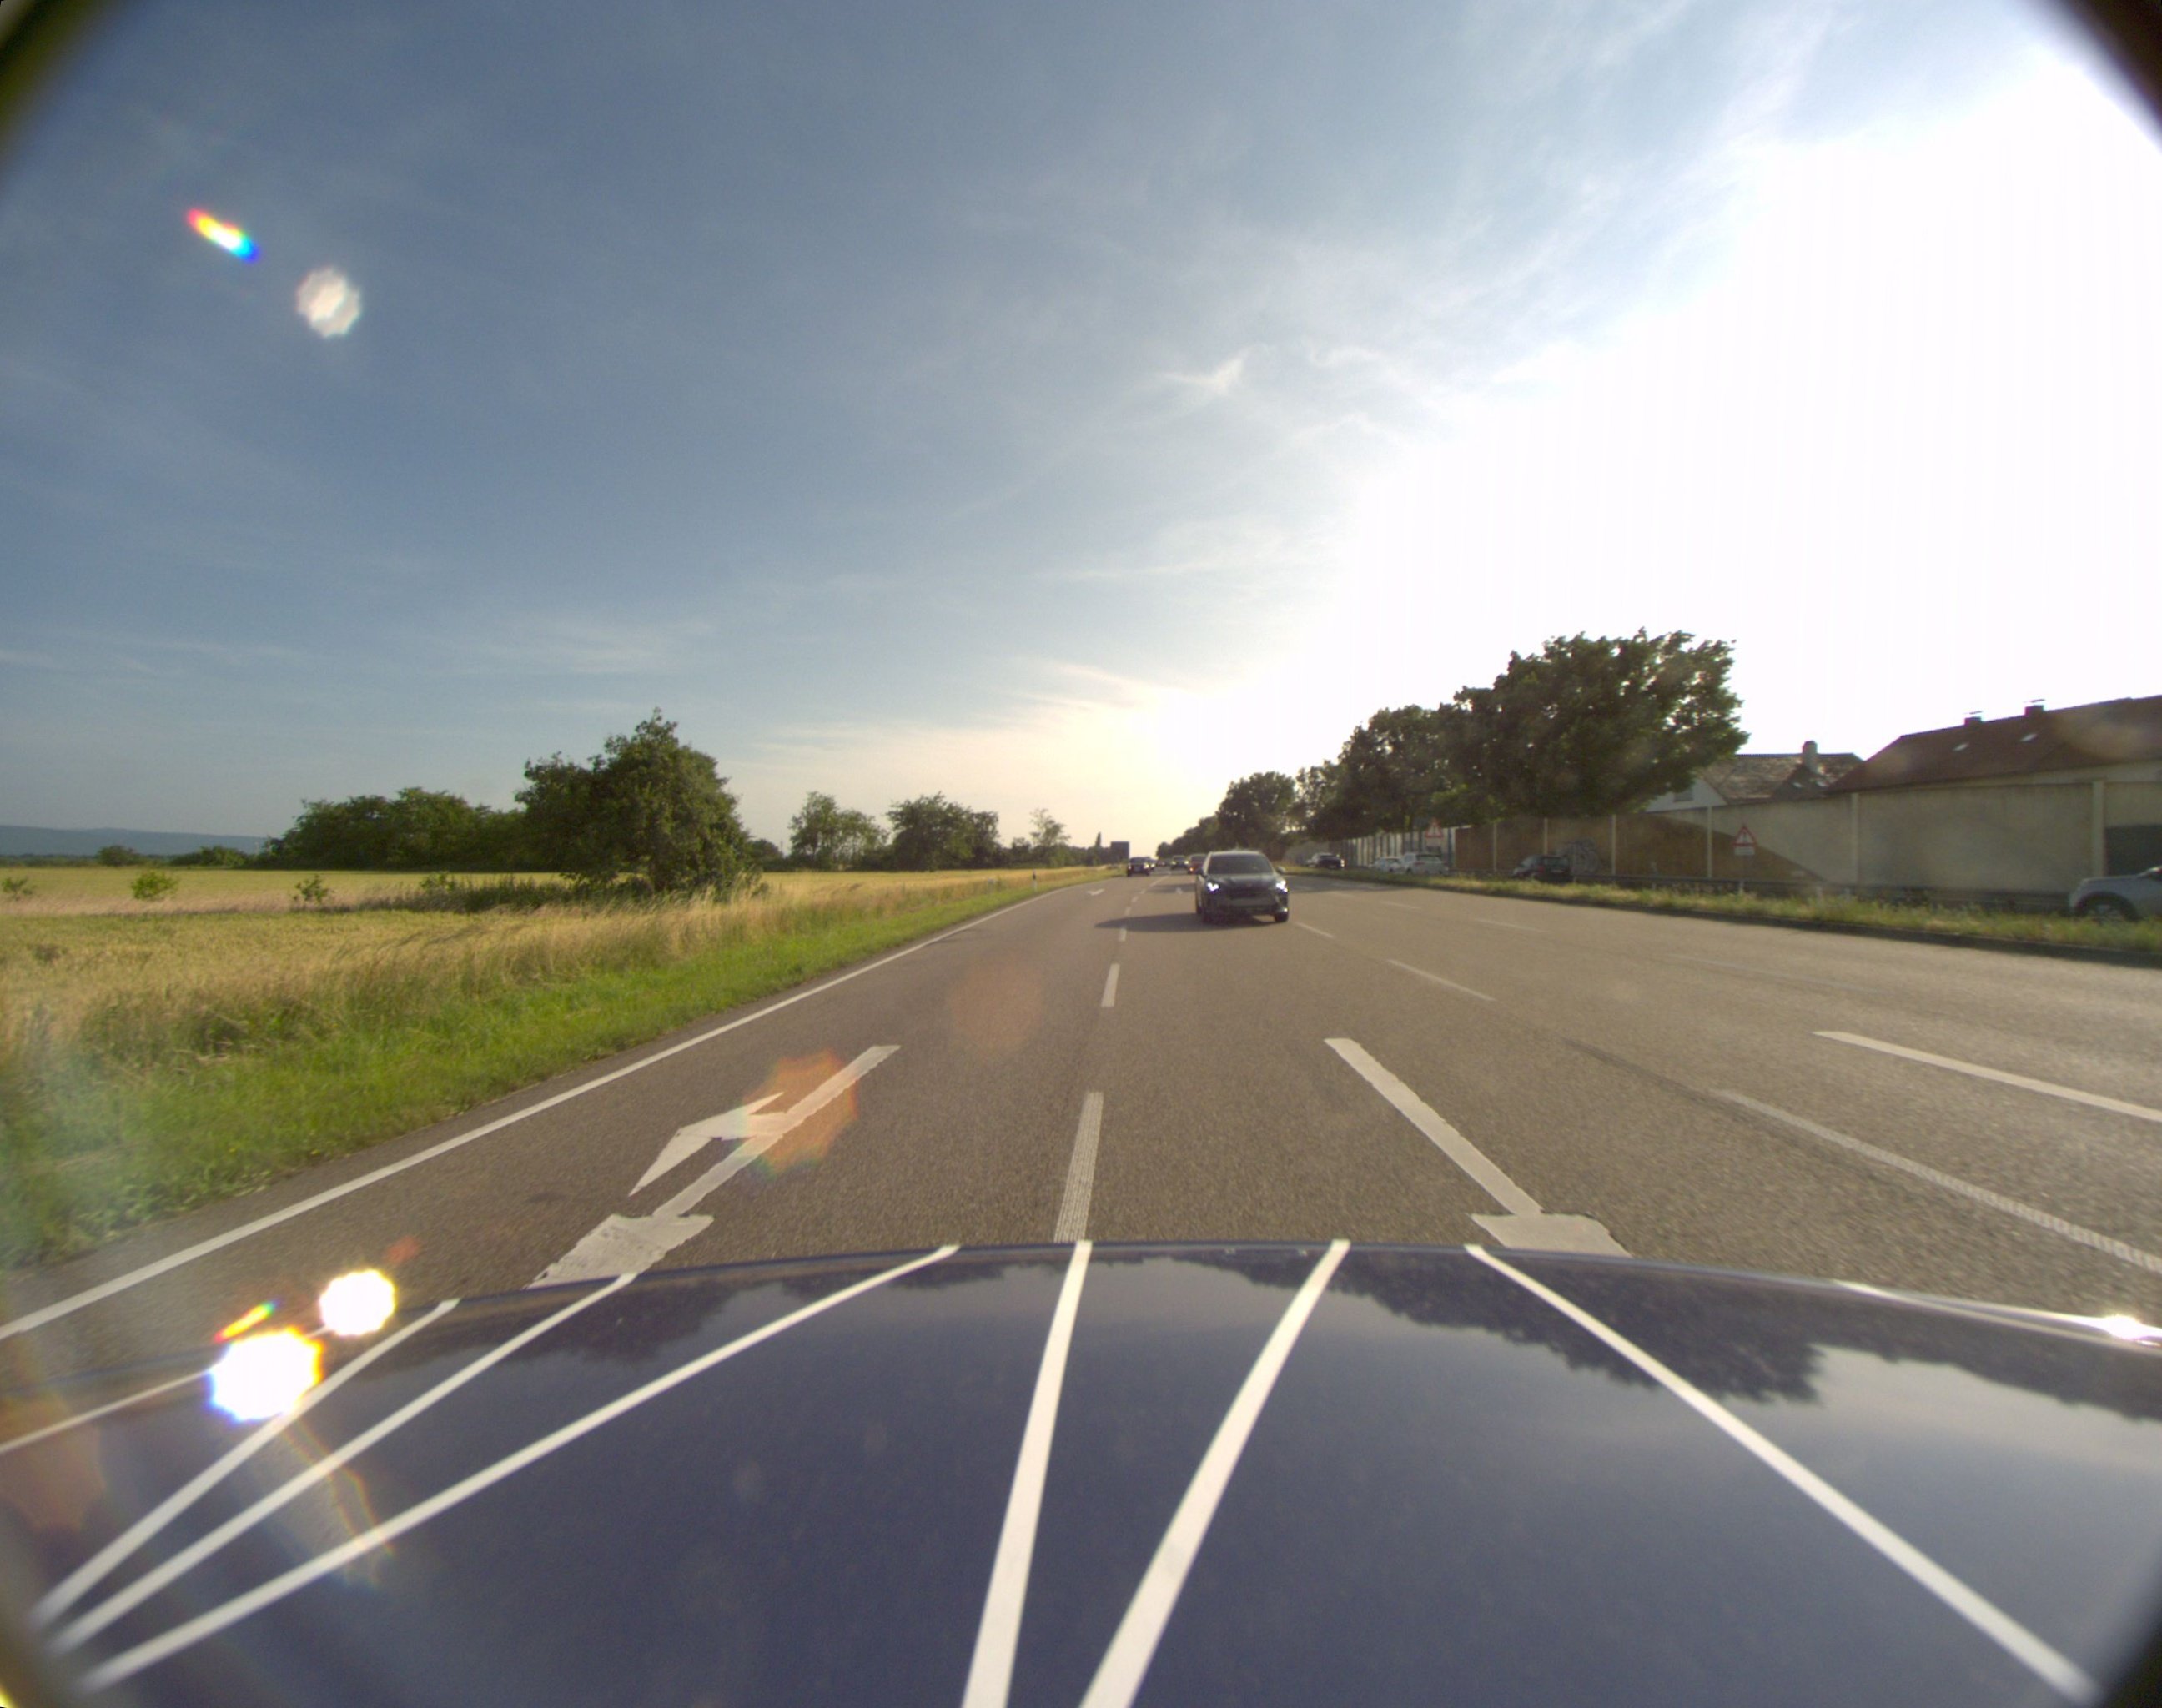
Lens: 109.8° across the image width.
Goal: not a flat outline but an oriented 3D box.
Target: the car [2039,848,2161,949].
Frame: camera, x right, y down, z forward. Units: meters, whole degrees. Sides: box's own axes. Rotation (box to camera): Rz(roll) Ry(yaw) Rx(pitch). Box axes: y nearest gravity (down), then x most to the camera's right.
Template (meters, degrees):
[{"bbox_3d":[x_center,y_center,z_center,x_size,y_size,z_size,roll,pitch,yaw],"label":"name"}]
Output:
[{"bbox_3d":[19.151,0.738,12.148,1.981,1.655,4.591,-2,0,3],"label":"car"}]

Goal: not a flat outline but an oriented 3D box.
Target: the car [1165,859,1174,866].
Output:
[{"bbox_3d":[16.932,1.610,145.229,1.496,1.149,3.651,-2,0,3],"label":"car"}]

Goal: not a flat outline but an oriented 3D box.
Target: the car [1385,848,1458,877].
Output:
[{"bbox_3d":[17.238,0.425,38.737,1.877,1.314,4.715,-2,0,4],"label":"car"}]

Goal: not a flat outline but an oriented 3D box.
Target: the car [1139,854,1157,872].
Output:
[{"bbox_3d":[7.300,0.945,82.531,1.806,1.783,4.001,-2,0,5],"label":"car"}]

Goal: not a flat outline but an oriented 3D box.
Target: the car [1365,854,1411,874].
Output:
[{"bbox_3d":[21.943,0.717,54.463,1.784,1.315,4.606,-2,0,5],"label":"car"}]

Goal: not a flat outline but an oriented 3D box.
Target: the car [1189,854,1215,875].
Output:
[{"bbox_3d":[10.002,0.828,62.963,1.822,1.661,4.001,-2,0,5],"label":"car"}]

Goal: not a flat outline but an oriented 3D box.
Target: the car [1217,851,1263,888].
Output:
[{"bbox_3d":[8.184,0.771,39.477,1.822,1.724,4.001,-2,0,5],"label":"car"}]

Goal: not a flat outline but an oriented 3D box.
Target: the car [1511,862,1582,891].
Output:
[{"bbox_3d":[20.934,1.001,34.275,1.477,1.157,3.063,-2,0,5],"label":"car"}]

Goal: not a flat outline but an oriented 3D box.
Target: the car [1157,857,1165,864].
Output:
[{"bbox_3d":[19.612,1.678,186.834,1.823,1.674,4.001,-2,0,3],"label":"car"}]

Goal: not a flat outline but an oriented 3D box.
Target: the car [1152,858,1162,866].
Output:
[{"bbox_3d":[15.738,1.576,157.540,1.729,1.608,4.000,-2,0,1],"label":"car"}]

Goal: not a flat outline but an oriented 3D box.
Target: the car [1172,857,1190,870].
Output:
[{"bbox_3d":[12.288,1.211,93.454,1.809,1.499,4.001,-2,0,4],"label":"car"}]

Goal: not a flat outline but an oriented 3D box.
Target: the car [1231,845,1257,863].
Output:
[{"bbox_3d":[22.103,0.056,103.438,2.353,2.290,7.193,-2,0,4],"label":"car"}]

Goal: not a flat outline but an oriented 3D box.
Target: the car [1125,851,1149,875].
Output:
[{"bbox_3d":[4.528,0.707,60.776,1.805,1.783,4.002,-2,0,5],"label":"car"}]

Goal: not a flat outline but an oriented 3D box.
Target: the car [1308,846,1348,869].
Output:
[{"bbox_3d":[19.102,0.281,58.860,1.735,1.615,4.924,-2,0,4],"label":"car"}]

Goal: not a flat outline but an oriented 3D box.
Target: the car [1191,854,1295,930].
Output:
[{"bbox_3d":[3.682,0.802,17.949,1.821,1.516,4.248,-2,0,5],"label":"car"}]
